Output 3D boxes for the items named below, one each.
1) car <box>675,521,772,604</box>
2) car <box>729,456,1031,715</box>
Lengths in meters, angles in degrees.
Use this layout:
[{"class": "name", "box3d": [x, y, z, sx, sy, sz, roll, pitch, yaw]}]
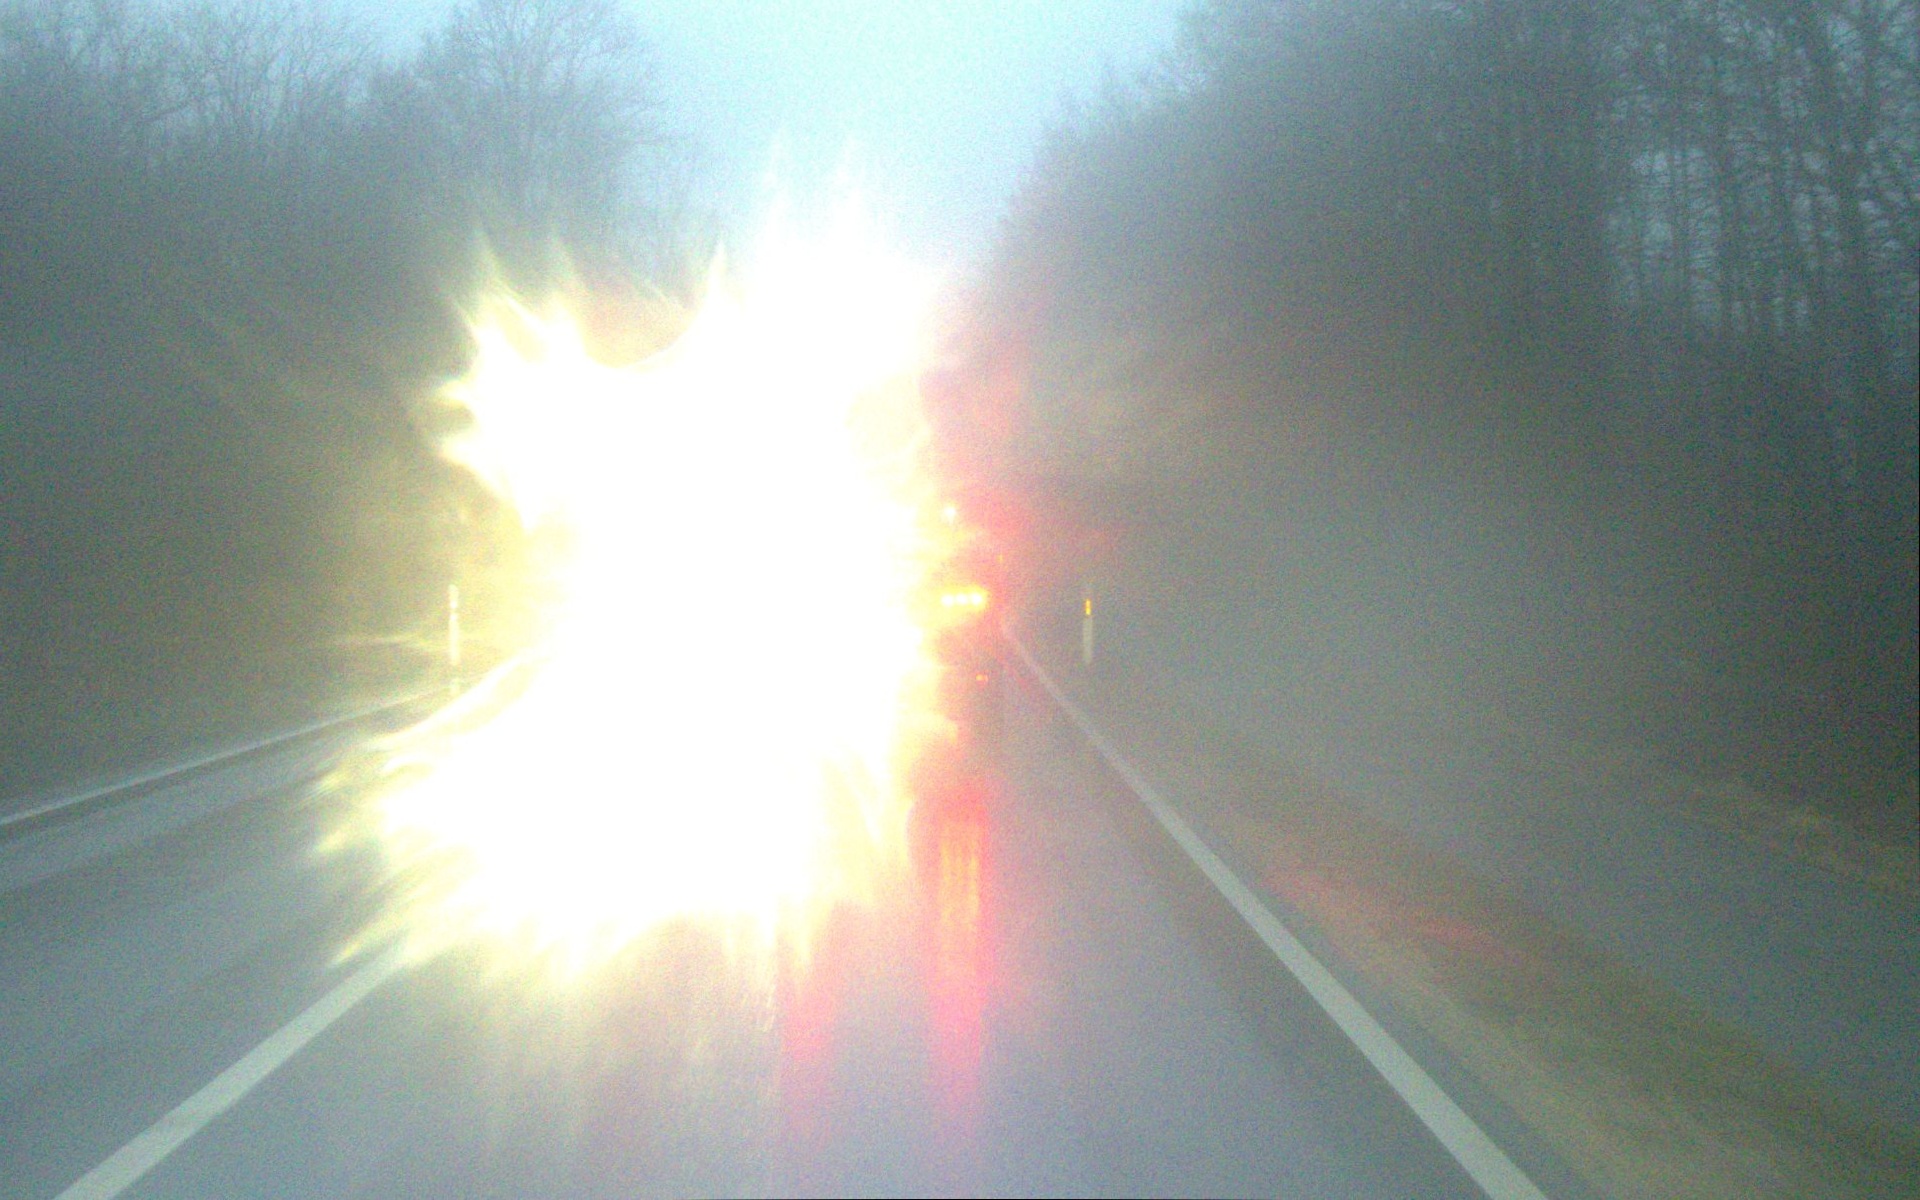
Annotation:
[{"class": "car", "box3d": [-4.596, -0.760, 67.252, 1.748, 1.547, 3.994, 0, 2, -2]}, {"class": "car", "box3d": [-0.637, -0.173, 27.772, 2.198, 1.871, 4.827, 1, 2, -1]}]
